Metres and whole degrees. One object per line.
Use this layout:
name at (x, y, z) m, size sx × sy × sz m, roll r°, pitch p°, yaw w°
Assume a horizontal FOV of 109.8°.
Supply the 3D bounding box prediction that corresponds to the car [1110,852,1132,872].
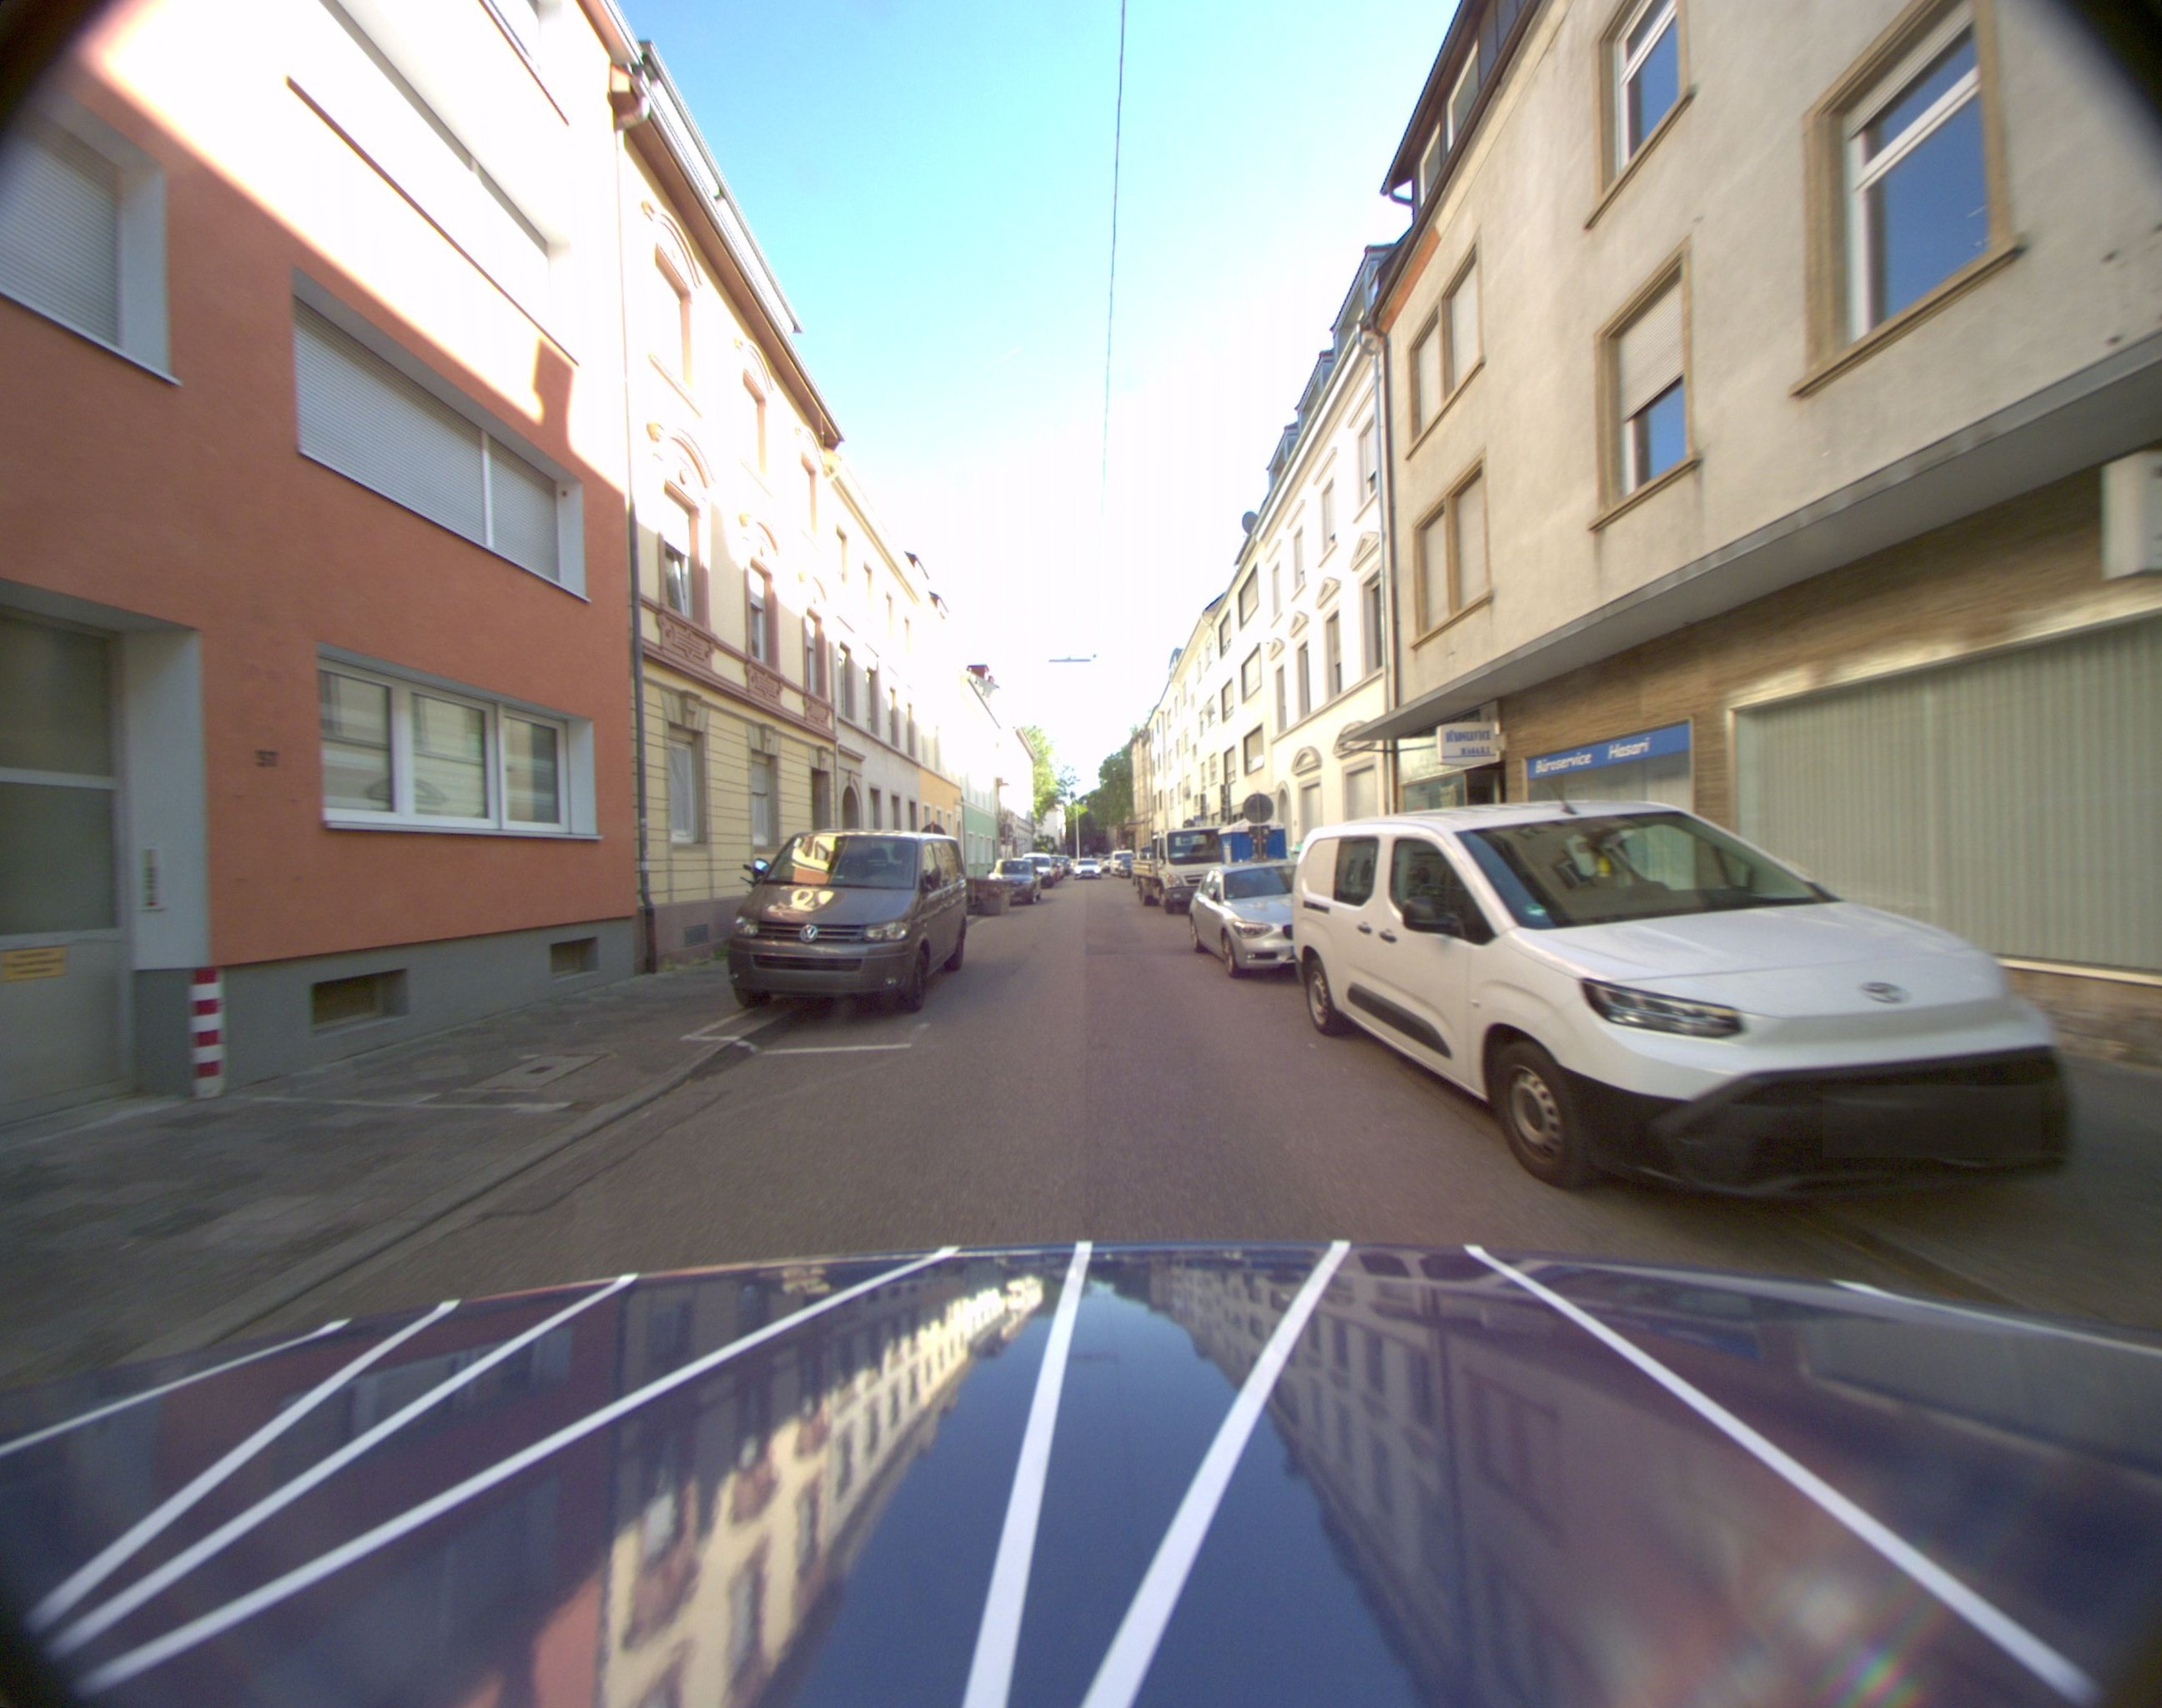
car at (3.683, 0.726, 70.457) m, size 1.768 × 1.724 × 4.835 m, roll -2°, pitch 1°, yaw 1°

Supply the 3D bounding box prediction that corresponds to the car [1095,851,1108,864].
car at (2.985, 0.463, 109.447) m, size 1.786 × 1.674 × 4.021 m, roll -2°, pitch 1°, yaw 1°

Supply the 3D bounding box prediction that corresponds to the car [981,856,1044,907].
car at (-2.358, 0.917, 27.047) m, size 1.744 × 1.534 × 4.050 m, roll -2°, pitch 1°, yaw 1°

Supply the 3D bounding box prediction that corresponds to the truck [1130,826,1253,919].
truck at (2.973, 0.423, 22.204) m, size 2.171 × 2.295 × 6.344 m, roll -1°, pitch 1°, yaw -5°

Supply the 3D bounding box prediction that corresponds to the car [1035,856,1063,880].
car at (-2.027, 0.901, 49.434) m, size 1.578 × 1.459 × 3.870 m, roll -2°, pitch -1°, yaw 1°

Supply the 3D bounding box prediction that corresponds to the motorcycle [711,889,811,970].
motorcycle at (-5.160, 1.169, 12.453) m, size 0.638 × 1.038 × 2.363 m, roll -2°, pitch 1°, yaw -1°

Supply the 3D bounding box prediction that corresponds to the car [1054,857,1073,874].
car at (-1.639, 1.043, 70.775) m, size 1.588 × 1.409 × 3.557 m, roll -2°, pitch 1°, yaw 1°

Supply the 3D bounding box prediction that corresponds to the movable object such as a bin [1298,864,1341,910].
movable object such as a bin at (5.886, 0.803, 18.795) m, size 0.788 × 1.066 × 0.696 m, roll -2°, pitch 1°, yaw -3°

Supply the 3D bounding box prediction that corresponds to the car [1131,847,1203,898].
car at (3.338, 0.659, 30.496) m, size 1.918 × 1.871 × 5.183 m, roll 0°, pitch 0°, yaw -4°

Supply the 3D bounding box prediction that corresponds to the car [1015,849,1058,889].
car at (-2.300, 0.742, 40.155) m, size 1.898 × 1.875 × 4.457 m, roll -2°, pitch 1°, yaw 1°

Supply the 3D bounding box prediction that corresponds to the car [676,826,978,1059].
car at (-2.646, 0.796, 9.375) m, size 1.975 × 2.017 × 4.899 m, roll -3°, pitch 0°, yaw 0°

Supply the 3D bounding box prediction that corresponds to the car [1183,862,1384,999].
car at (2.592, 0.893, 10.845) m, size 1.669 × 1.514 × 4.488 m, roll 0°, pitch 0°, yaw 0°

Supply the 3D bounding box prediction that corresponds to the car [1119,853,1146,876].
car at (3.583, 0.719, 53.592) m, size 1.730 × 1.483 × 4.115 m, roll -3°, pitch 0°, yaw 2°

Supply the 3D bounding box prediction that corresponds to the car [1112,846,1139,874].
car at (3.461, 0.463, 60.098) m, size 1.913 × 2.076 × 4.696 m, roll -2°, pitch 0°, yaw 1°

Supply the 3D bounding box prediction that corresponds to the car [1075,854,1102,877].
car at (0.550, 0.791, 52.278) m, size 1.761 × 1.399 × 4.021 m, roll -2°, pitch 1°, yaw 1°

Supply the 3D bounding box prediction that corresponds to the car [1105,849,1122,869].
car at (3.398, 0.546, 79.797) m, size 1.585 × 1.971 × 4.067 m, roll -2°, pitch 1°, yaw 1°

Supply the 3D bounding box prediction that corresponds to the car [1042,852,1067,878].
car at (-1.880, 0.783, 55.130) m, size 1.604 × 1.772 × 3.759 m, roll -2°, pitch 0°, yaw 1°

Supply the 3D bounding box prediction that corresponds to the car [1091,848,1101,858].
car at (2.944, -0.217, 149.142) m, size 1.985 × 1.674 × 4.021 m, roll -2°, pitch 1°, yaw 1°

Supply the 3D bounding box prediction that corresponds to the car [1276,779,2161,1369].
car at (2.765, 0.708, 4.840) m, size 1.771 × 1.887 × 4.808 m, roll 0°, pitch 0°, yaw -1°

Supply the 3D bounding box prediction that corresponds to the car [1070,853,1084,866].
car at (-0.532, 0.751, 103.223) m, size 1.857 × 1.620 × 4.072 m, roll -2°, pitch 1°, yaw 1°

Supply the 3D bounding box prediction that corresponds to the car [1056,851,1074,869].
car at (-1.728, 0.636, 82.133) m, size 1.786 × 1.867 × 4.021 m, roll -2°, pitch 1°, yaw 1°

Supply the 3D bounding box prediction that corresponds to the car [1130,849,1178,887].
car at (3.633, 0.665, 38.543) m, size 1.759 × 1.759 × 4.177 m, roll -1°, pitch 1°, yaw -4°
